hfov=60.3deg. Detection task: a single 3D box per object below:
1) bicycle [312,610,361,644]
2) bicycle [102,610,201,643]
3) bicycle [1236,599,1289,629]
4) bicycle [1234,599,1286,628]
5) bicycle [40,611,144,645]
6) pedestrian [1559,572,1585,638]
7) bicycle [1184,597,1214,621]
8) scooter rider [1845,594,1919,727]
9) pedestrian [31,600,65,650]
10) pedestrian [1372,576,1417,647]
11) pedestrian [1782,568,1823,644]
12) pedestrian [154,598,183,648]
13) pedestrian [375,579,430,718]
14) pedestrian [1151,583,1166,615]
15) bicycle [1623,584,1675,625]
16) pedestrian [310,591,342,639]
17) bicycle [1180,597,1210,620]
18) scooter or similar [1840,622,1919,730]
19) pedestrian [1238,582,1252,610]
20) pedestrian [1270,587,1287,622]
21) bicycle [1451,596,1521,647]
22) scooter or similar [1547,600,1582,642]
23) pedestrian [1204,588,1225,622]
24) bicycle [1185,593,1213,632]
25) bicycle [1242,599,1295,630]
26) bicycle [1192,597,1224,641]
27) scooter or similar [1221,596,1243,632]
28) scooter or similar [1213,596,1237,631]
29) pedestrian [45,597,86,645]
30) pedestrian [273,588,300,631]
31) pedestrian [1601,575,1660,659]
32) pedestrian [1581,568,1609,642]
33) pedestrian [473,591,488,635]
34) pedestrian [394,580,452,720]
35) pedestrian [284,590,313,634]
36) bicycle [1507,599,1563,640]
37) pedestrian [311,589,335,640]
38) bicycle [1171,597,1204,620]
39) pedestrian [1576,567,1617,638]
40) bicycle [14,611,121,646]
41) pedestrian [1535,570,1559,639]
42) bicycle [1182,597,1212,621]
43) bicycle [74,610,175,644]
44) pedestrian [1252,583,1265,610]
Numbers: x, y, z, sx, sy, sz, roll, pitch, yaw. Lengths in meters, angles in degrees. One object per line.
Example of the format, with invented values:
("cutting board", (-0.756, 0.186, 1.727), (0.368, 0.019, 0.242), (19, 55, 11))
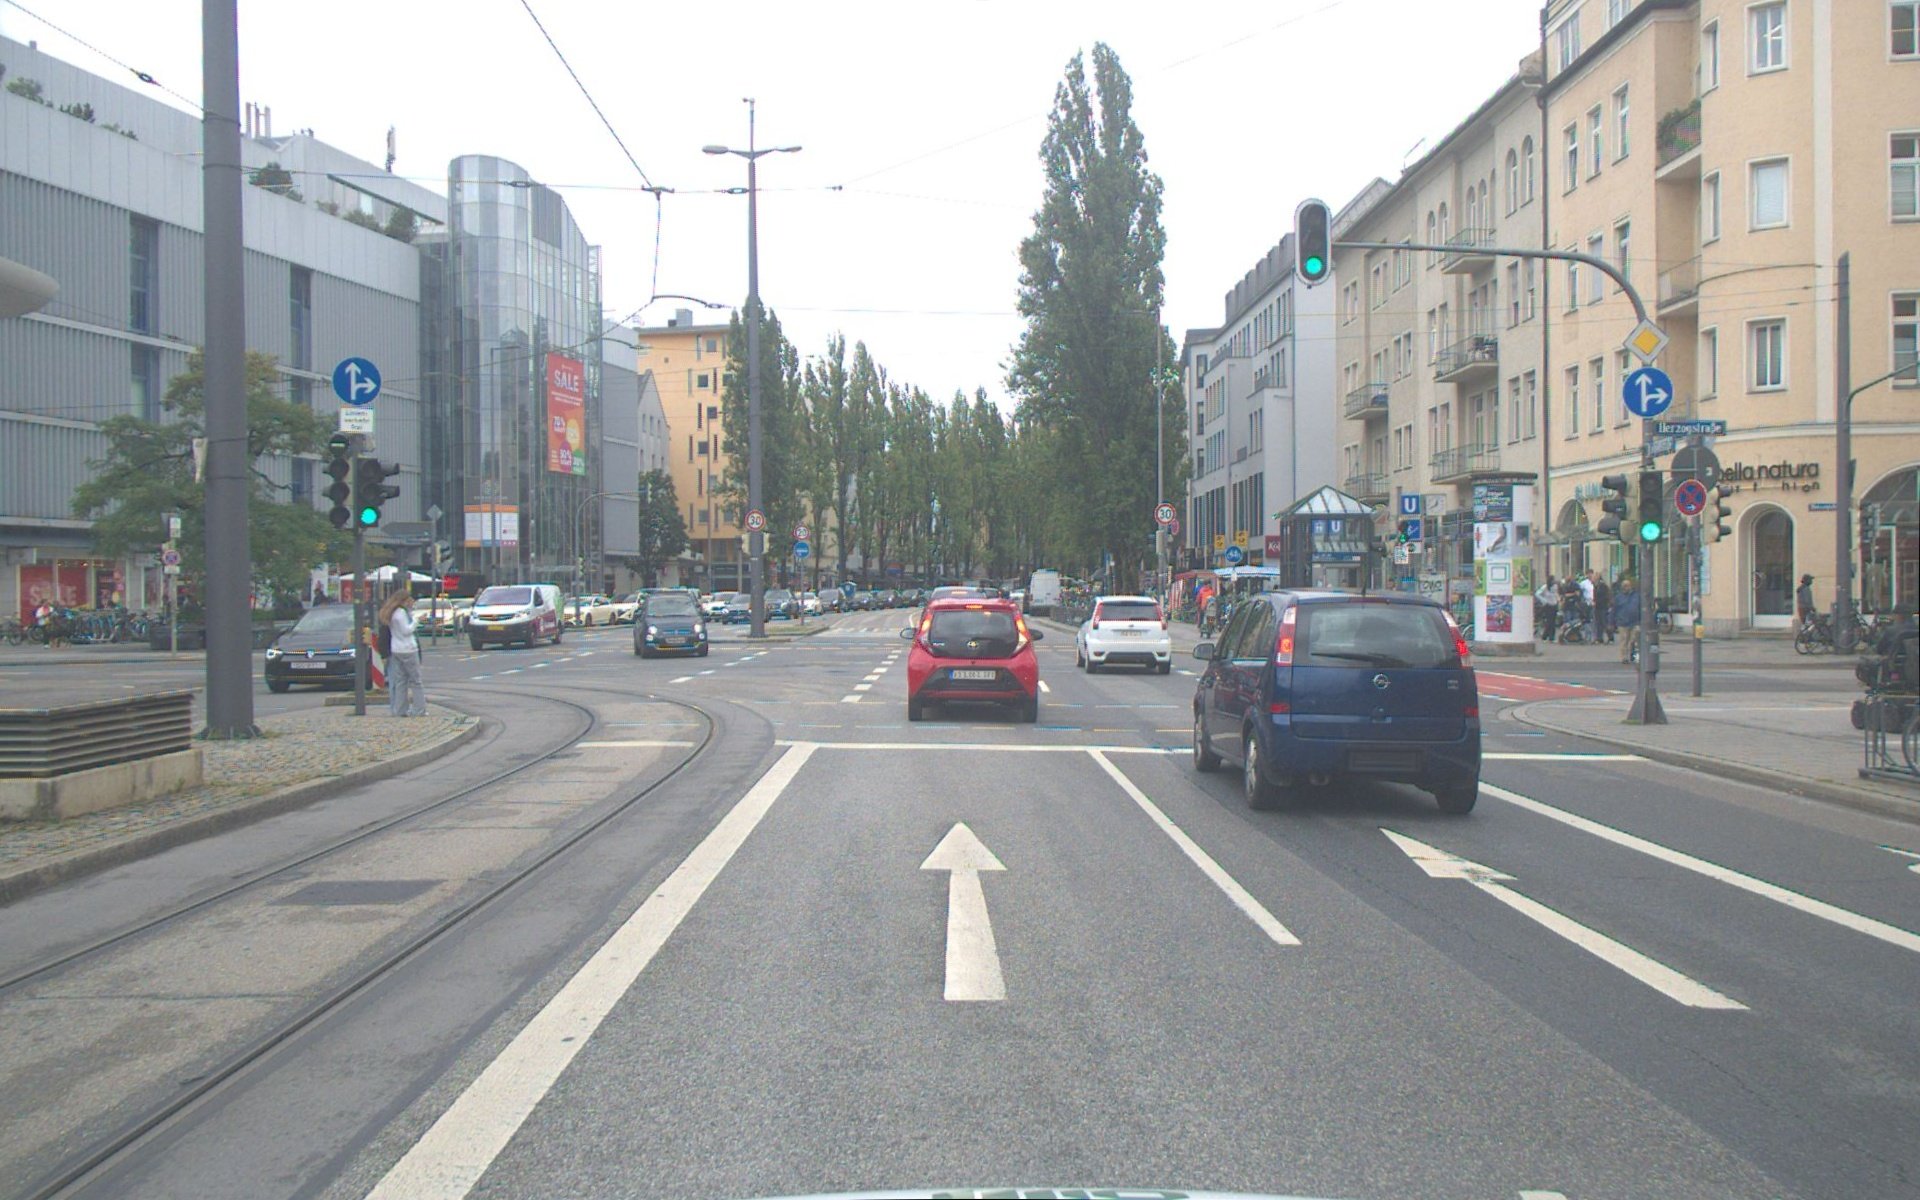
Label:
("bicycle", (-21.279, 0.917, 56.454), (1.541, 1.131, 0.373), (0, 0, 3))
("bicycle", (-30.630, 0.998, 62.649), (3.419, 1.177, 1.061), (-1, 0, 12))
("bicycle", (10.315, 0.482, 56.393), (1.718, 0.981, 0.453), (-1, 0, 0))
("bicycle", (10.344, 0.472, 57.085), (1.718, 0.981, 0.369), (-1, 0, 0))
("bicycle", (-31.248, 1.001, 59.573), (3.419, 1.177, 1.061), (-1, 0, 12))
("pedestrian", (15.626, 0.124, 42.261), (0.548, 1.637, 0.568), (-1, 3, 12))
("bicycle", (10.003, 0.371, 69.203), (1.208, 0.980, 0.367), (-1, 0, -23))
("scooter rider", (10.174, 0.644, 18.034), (0.686, 1.413, 0.643), (-1, 0, -3))
("pedestrian", (-29.556, 0.815, 53.616), (0.624, 1.601, 0.721), (-1, 0, 10))
("pedestrian", (10.718, 0.278, 40.808), (0.820, 1.720, 0.816), (-1, 0, 37))
("pedestrian", (19.652, 0.133, 38.582), (0.666, 1.714, 0.748), (-1, 3, 11))
("pedestrian", (-27.524, 0.783, 57.492), (0.780, 1.717, 0.852), (-1, 0, -35))
("pedestrian", (-6.754, 0.577, 20.023), (0.482, 1.646, 0.551), (-1, 0, -35))
("pedestrian", (11.114, -0.070, 92.642), (0.774, 1.758, 0.764), (-1, 0, -1))
("bicycle", (18.894, 0.108, 45.391), (0.485, 1.108, 1.864), (-1, 0, -6))
("pedestrian", (-22.569, 0.539, 58.916), (0.754, 1.683, 0.752), (-1, 0, 10))
("bicycle", (10.018, 0.368, 70.491), (1.235, 0.980, 0.369), (-1, 0, 2))
("scooter or similar", (10.224, 0.797, 17.844), (0.760, 1.094, 1.256), (-1, 0, -2))
("pedestrian", (14.723, -0.198, 85.417), (0.586, 1.427, 0.580), (-1, 0, -1))
("pedestrian", (14.084, 0.216, 73.145), (0.568, 1.531, 0.615), (-1, 0, 31))
("bicycle", (12.829, 0.516, 40.362), (1.536, 1.180, 0.525), (-2, 2, 2))
("scooter or similar", (15.144, 0.525, 41.435), (0.803, 1.011, 0.593), (0, 4, 22))
("pedestrian", (11.477, 0.229, 74.628), (0.792, 1.549, 0.800), (-1, 0, 0))
("bicycle", (8.218, 0.420, 56.915), (0.601, 1.287, 2.520), (-1, 1, 0))
("bicycle", (10.410, 0.488, 55.834), (1.719, 0.981, 0.453), (-1, 0, -2))
("bicycle", (7.588, 0.561, 50.632), (0.601, 1.287, 2.520), (-1, 1, 0))
("scooter or similar", (9.407, 0.478, 57.200), (0.294, 1.196, 1.275), (-1, 0, 29))
("scooter or similar", (9.220, 0.472, 57.558), (0.357, 1.196, 1.345), (-1, 0, 29))
("pedestrian", (-30.622, 0.725, 56.650), (0.780, 1.608, 0.978), (-1, 0, 10))
("pedestrian", (-24.113, 0.350, 59.185), (0.743, 1.519, 0.763), (-1, 0, -35))
("pedestrian", (14.491, 0.365, 35.791), (0.914, 1.786, 1.066), (-1, 0, 6))
("pedestrian", (15.797, 0.122, 41.141), (0.635, 1.781, 0.637), (0, 3, 22))
("pedestrian", (-19.545, 0.526, 67.379), (0.438, 1.790, 0.354), (0, 0, 35))
("pedestrian", (-6.424, 0.584, 19.795), (0.513, 1.646, 0.461), (-1, 0, 43))
("pedestrian", (-24.060, 0.428, 60.161), (0.746, 1.581, 0.760), (-1, 0, -44))
("bicycle", (15.653, 0.515, 45.068), (0.486, 1.077, 1.858), (-1, 0, -15))
("pedestrian", (-23.127, 0.517, 60.047), (0.739, 1.804, 0.767), (-1, 0, -24))
("bicycle", (9.886, 0.363, 71.979), (1.401, 0.980, 0.369), (-1, 0, 5))
("pedestrian", (16.153, 0.050, 41.977), (0.637, 1.734, 0.726), (-3, 4, -30))
("bicycle", (-31.490, 1.002, 58.357), (3.419, 1.177, 1.061), (-1, 0, 12))
("pedestrian", (14.945, 0.111, 42.116), (0.554, 1.699, 0.562), (0, 3, 22))
("bicycle", (10.028, 0.376, 70.008), (1.234, 0.980, 0.369), (-1, 0, 9))
("bicycle", (-30.917, 0.999, 61.211), (3.419, 1.177, 1.061), (-1, 0, 12))
("pedestrian", (15.422, -0.184, 85.401), (0.563, 1.427, 0.580), (-1, 0, -1))
